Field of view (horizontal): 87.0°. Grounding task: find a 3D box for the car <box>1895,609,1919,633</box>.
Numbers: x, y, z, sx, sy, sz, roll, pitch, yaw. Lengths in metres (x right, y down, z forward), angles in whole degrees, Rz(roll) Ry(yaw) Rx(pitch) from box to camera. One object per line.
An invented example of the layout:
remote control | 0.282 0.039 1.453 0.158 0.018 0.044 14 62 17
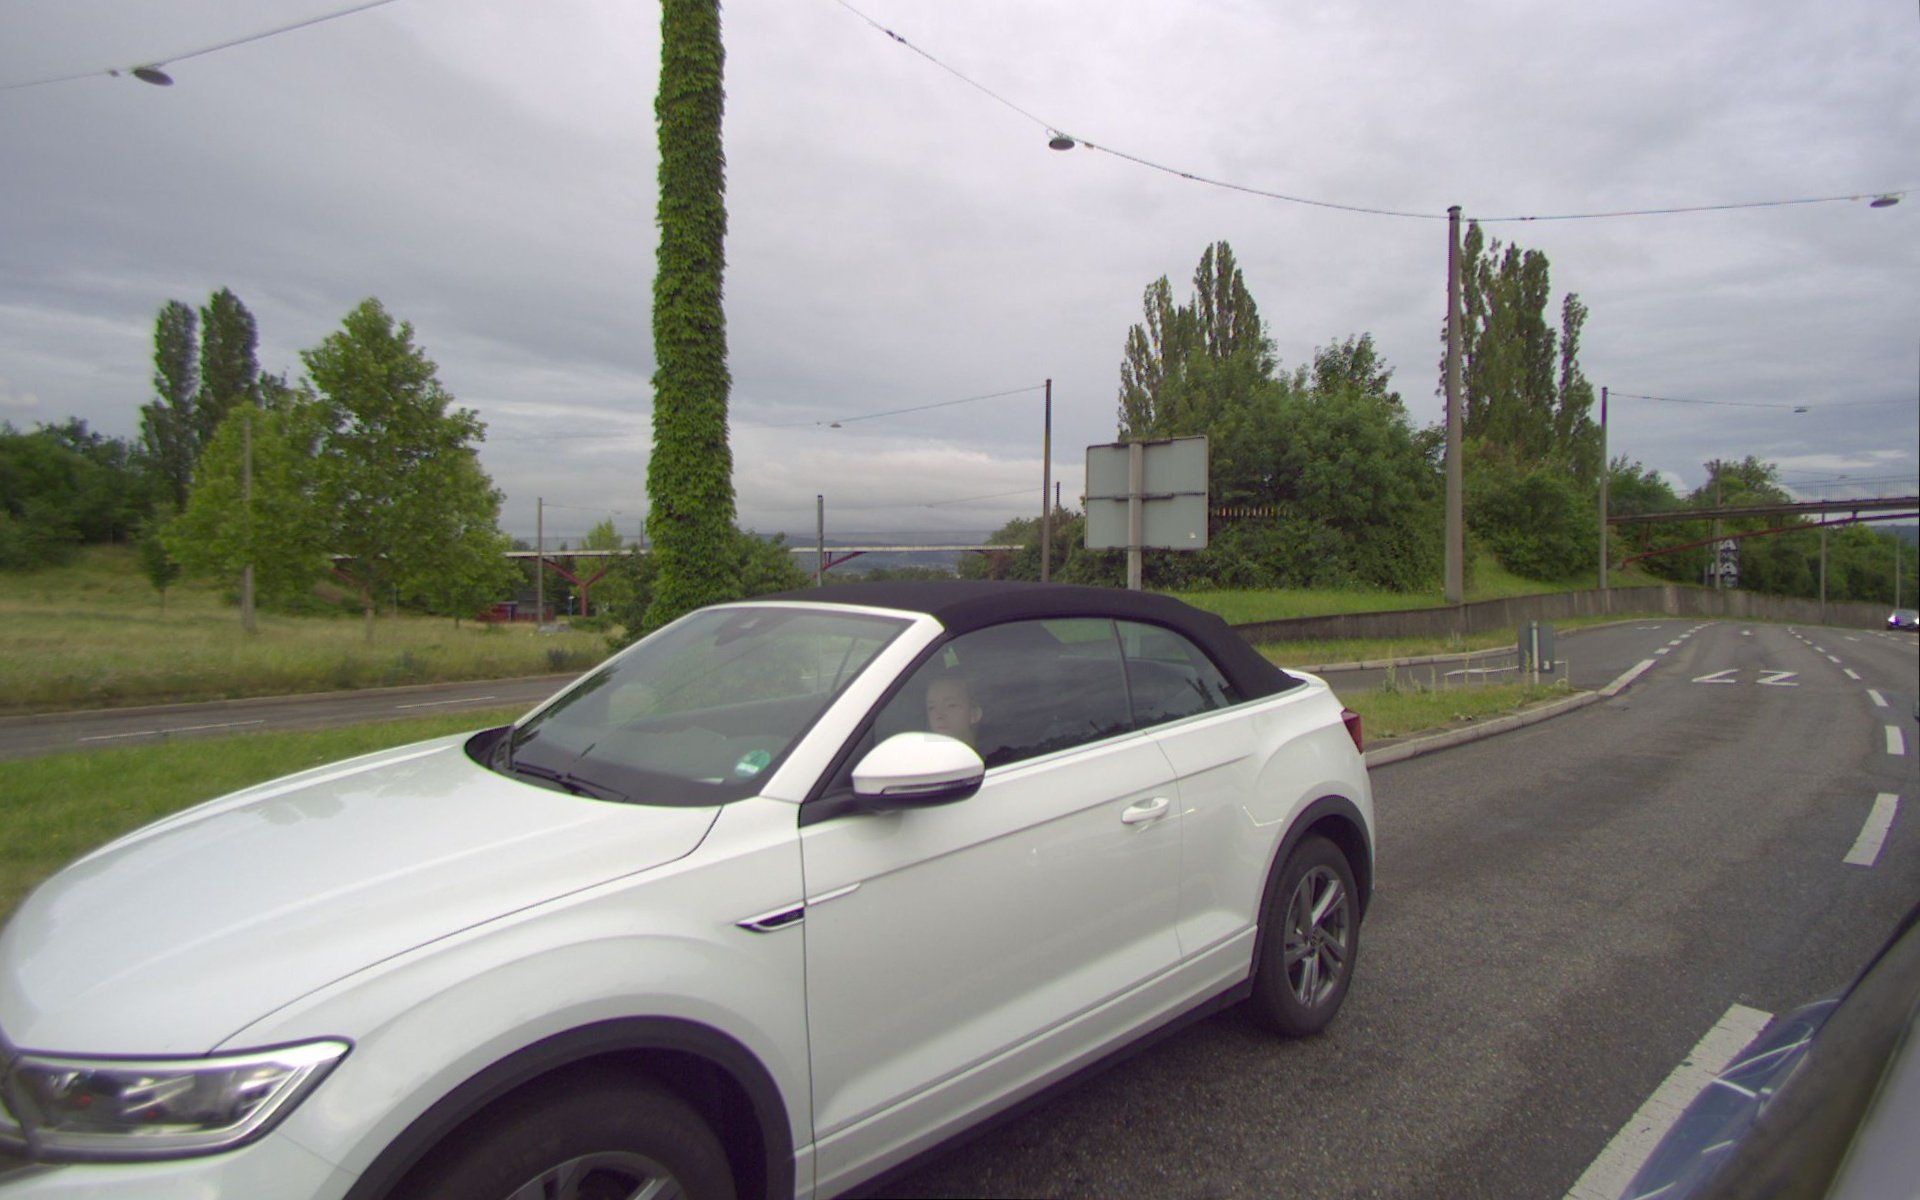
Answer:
car | 69.705 1.542 73.655 3.929 1.700 1.909 1 -3 -40

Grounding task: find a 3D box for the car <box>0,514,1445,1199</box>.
car | -0.251 0.653 3.081 4.158 1.572 1.715 -1 1 -43

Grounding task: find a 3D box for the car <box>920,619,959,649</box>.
car | -1.331 2.259 67.772 1.965 1.872 4.813 -1 -2 6

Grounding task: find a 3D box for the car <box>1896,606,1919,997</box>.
car | 5.552 0.706 4.144 4.059 1.385 1.895 -1 1 -38
